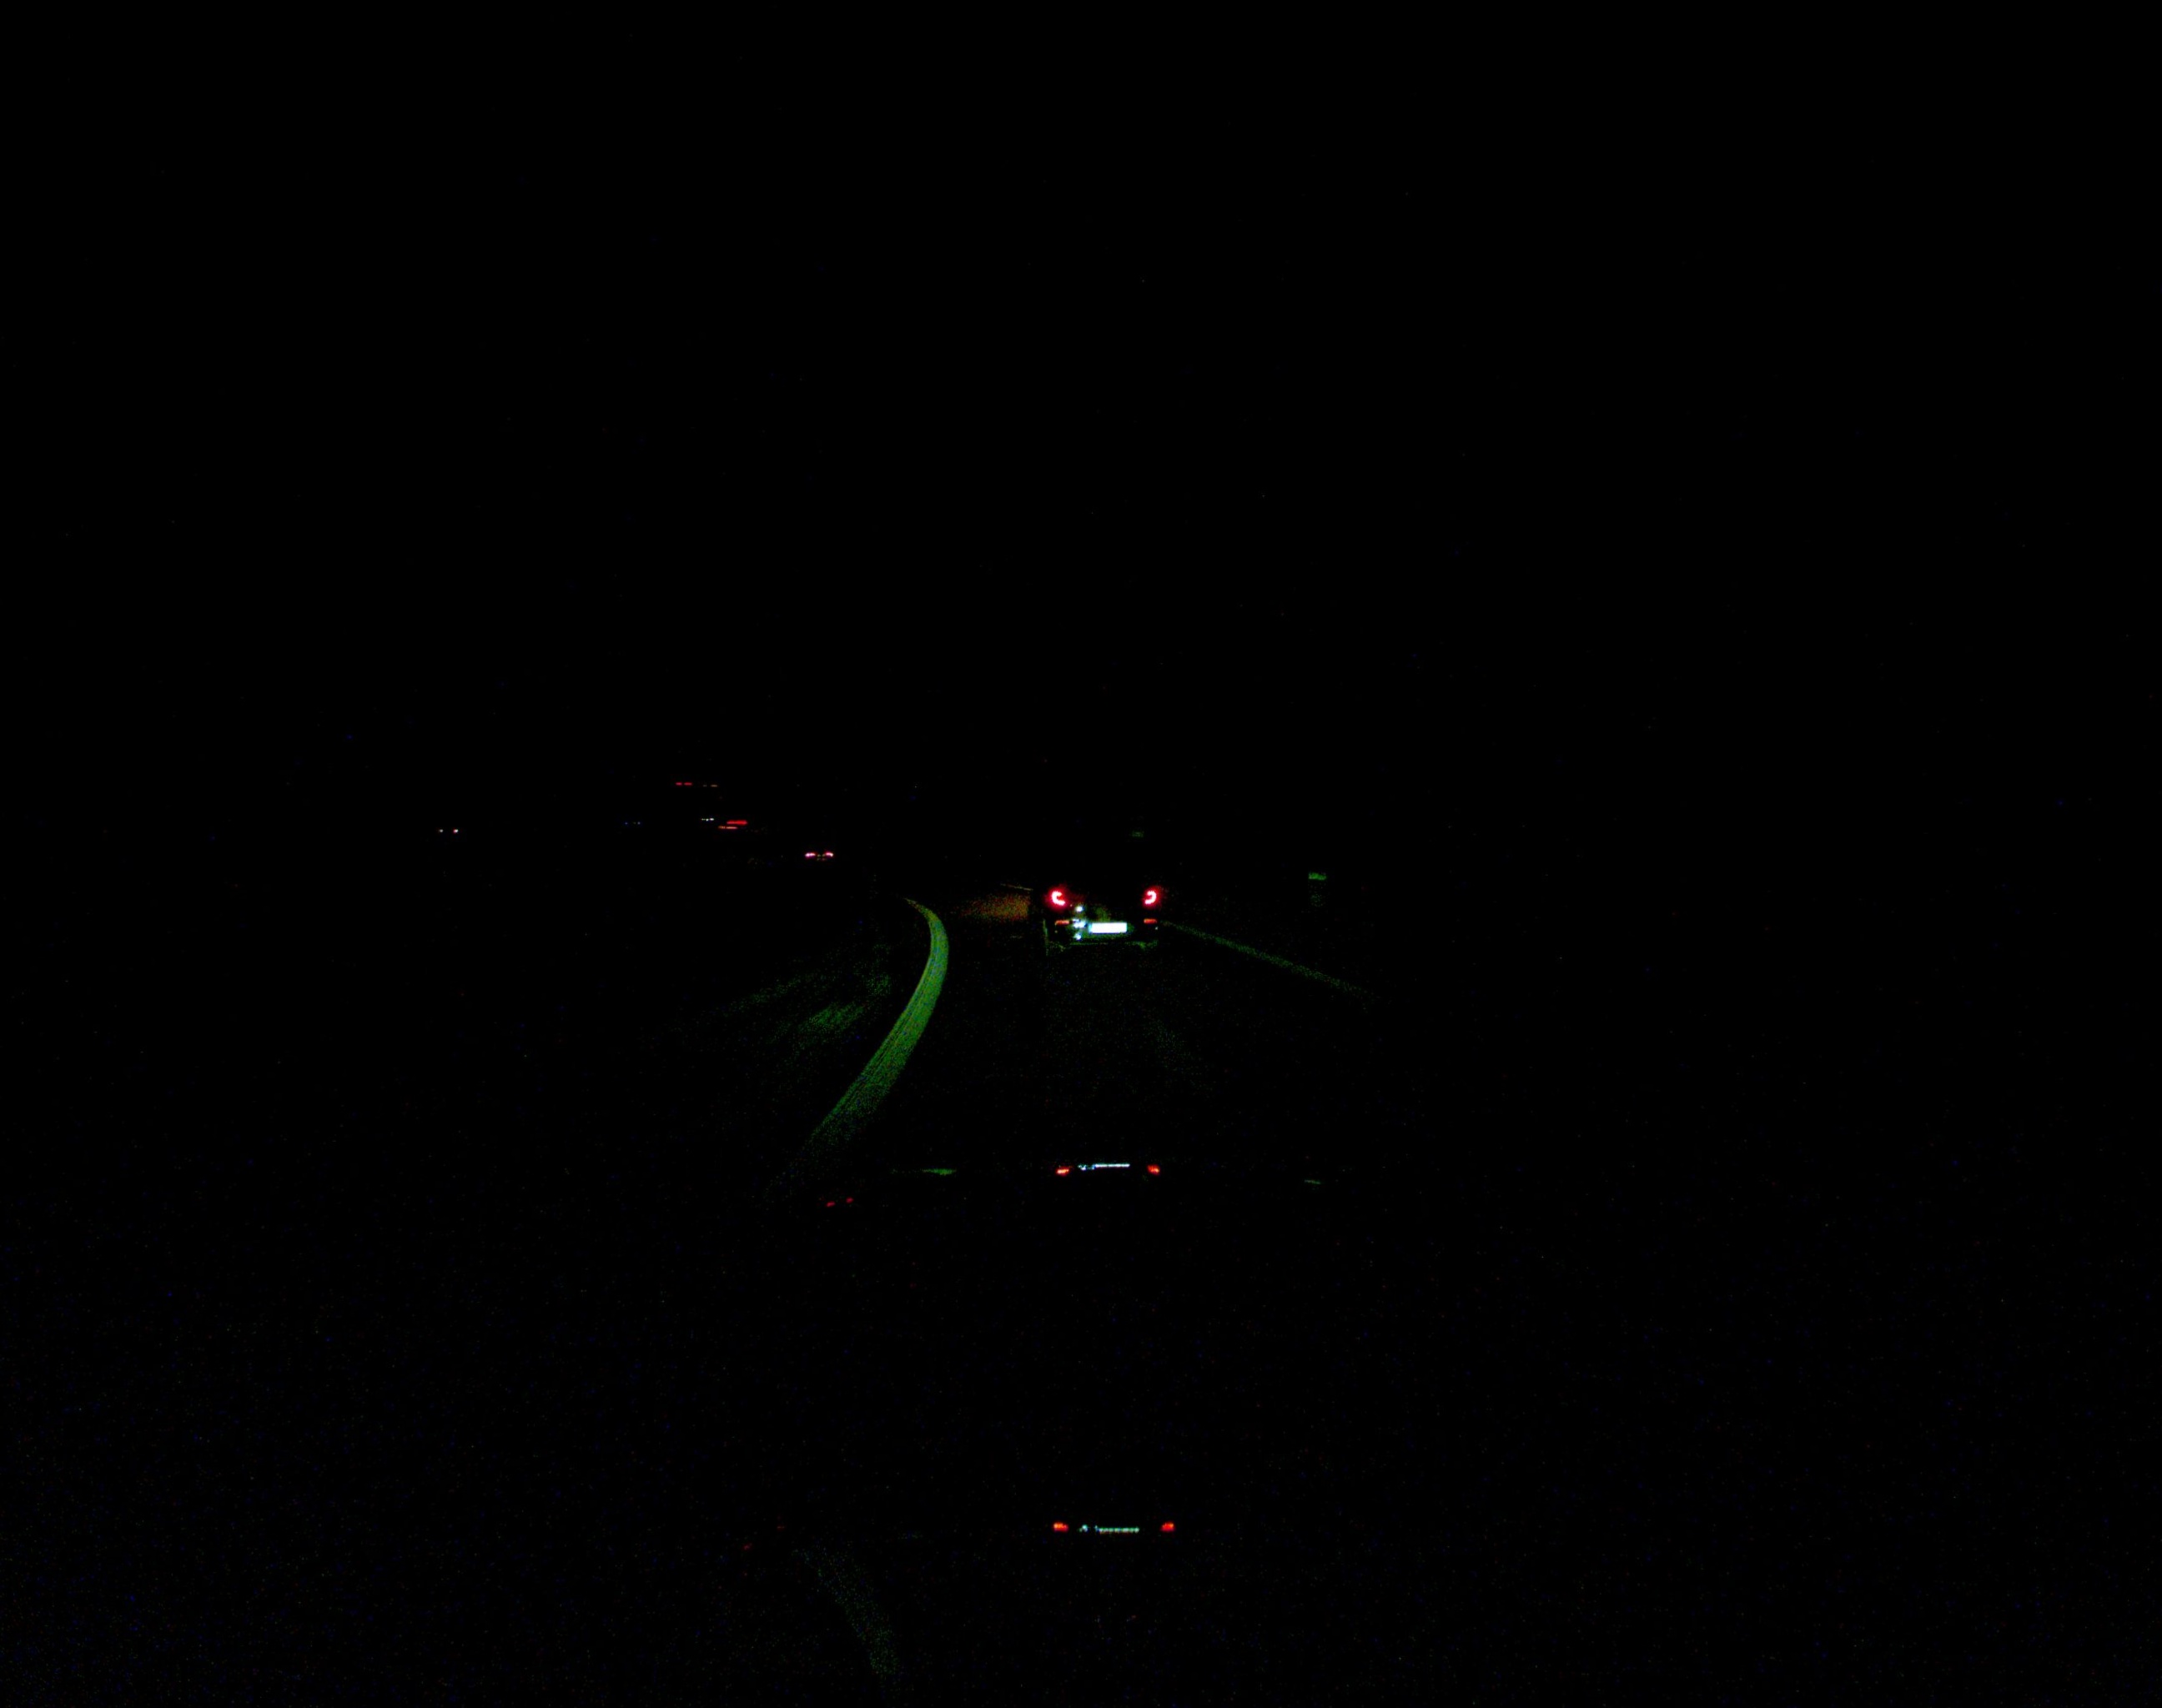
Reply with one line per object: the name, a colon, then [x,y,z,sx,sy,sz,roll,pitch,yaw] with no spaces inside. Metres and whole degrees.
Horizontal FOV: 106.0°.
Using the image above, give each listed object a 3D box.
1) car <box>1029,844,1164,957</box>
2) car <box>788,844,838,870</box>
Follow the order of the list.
car: [0.087,0.691,12.974,1.689,1.478,3.991,-1,-2,-5]
car: [-17.362,0.152,52.698,1.966,1.537,4.196,-3,3,-34]
